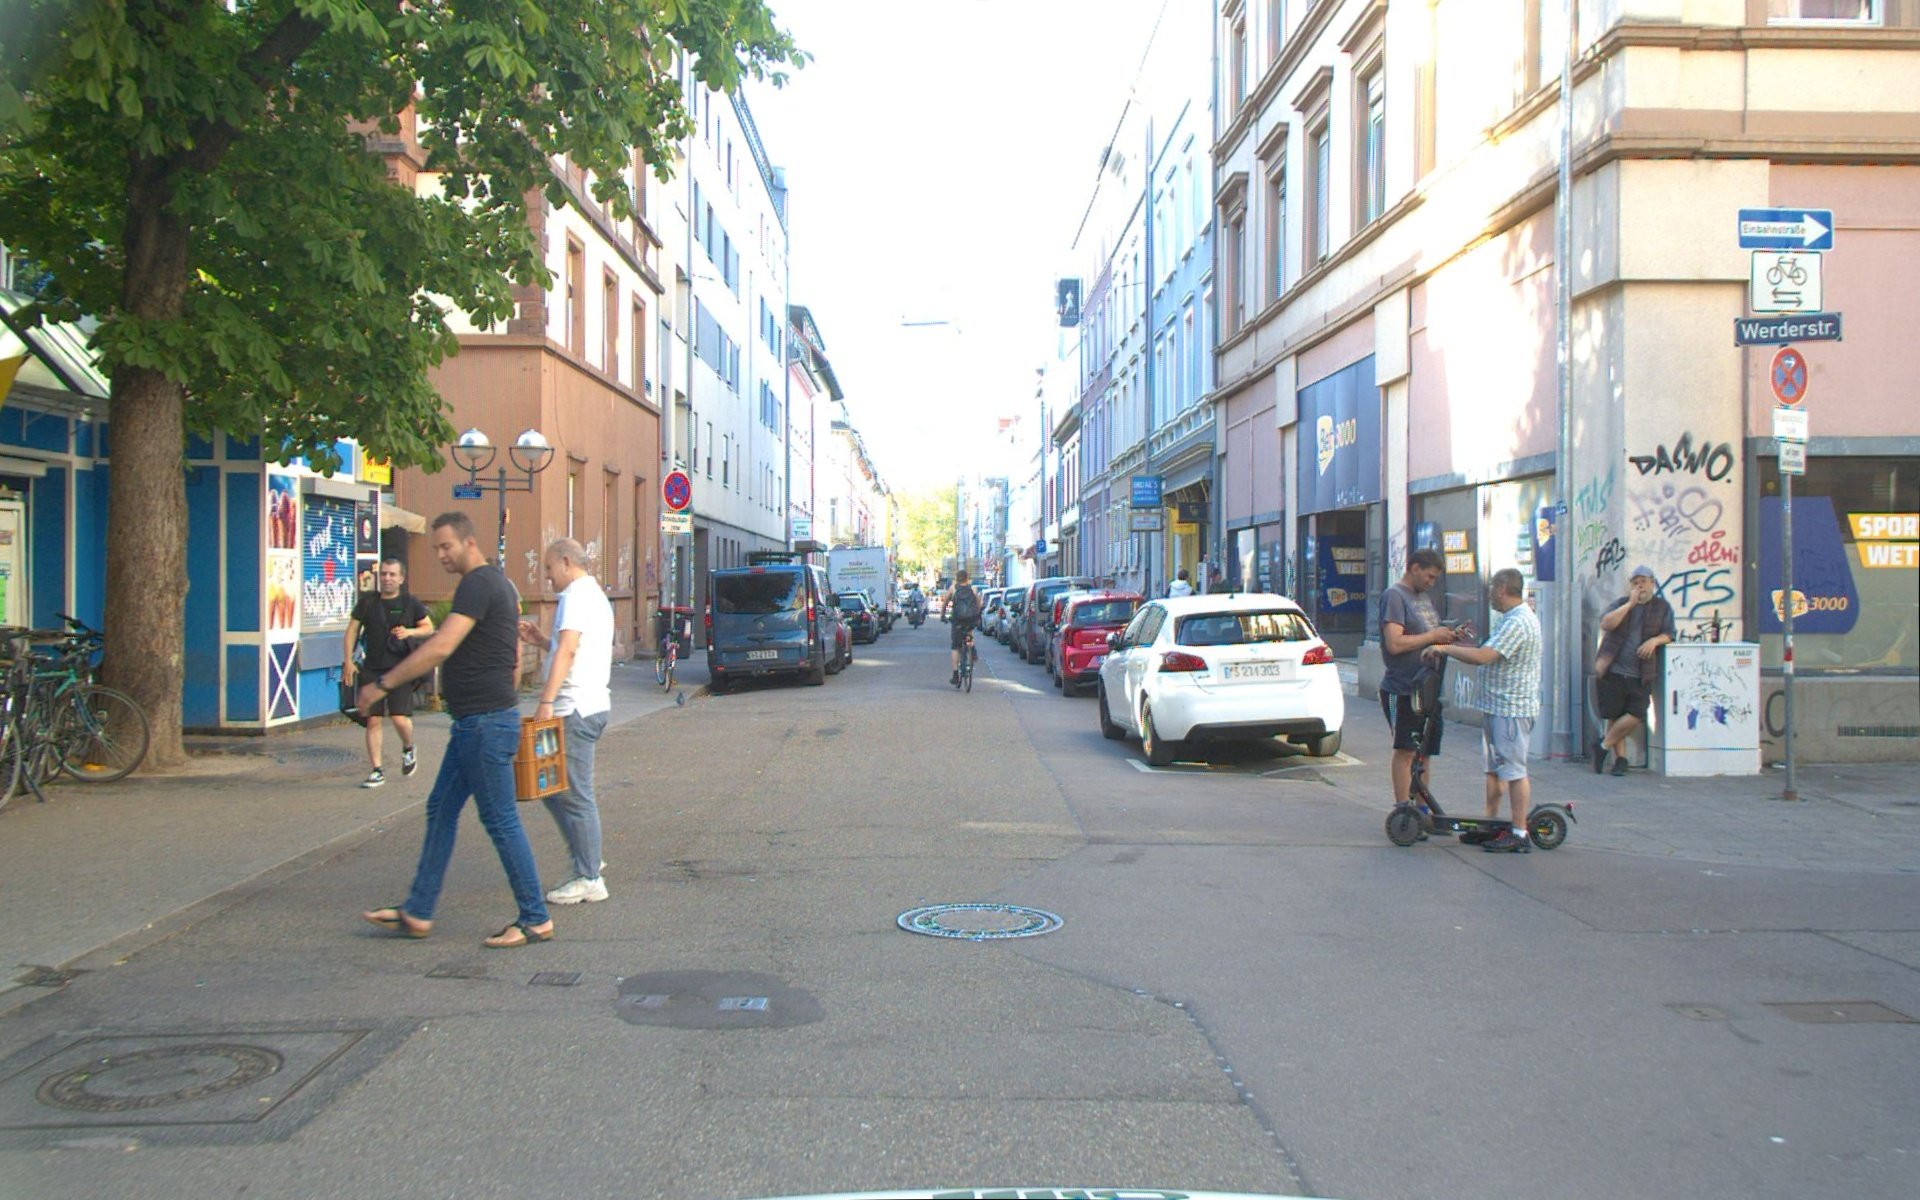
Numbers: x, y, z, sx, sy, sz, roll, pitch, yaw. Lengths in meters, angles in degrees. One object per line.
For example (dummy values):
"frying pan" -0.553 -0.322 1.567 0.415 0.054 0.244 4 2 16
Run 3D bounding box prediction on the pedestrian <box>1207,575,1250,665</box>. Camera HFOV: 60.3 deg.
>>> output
"pedestrian" 4.718 0.346 29.115 0.576 1.556 0.658 1 -1 -7

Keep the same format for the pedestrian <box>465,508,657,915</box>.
"pedestrian" -1.902 0.517 7.969 0.746 1.867 0.688 1 -1 -3

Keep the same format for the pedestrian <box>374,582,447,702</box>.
"pedestrian" -6.878 0.515 20.726 0.691 1.470 0.617 1 -1 -2

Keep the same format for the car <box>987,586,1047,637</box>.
"car" 1.866 0.363 54.969 1.662 1.570 4.627 -2 0 -2

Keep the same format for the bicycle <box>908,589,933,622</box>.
"bicycle" -1.654 0.213 69.982 0.957 1.337 2.555 -1 0 0

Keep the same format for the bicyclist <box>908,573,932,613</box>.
"bicyclist" -1.672 -0.296 69.677 0.931 1.656 0.953 -2 0 0

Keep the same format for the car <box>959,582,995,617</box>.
"car" 0.935 -0.027 92.526 1.715 1.911 3.970 -1 0 -4

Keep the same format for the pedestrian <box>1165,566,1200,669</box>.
"pedestrian" 3.865 0.297 28.683 0.549 1.771 0.428 1 -1 11

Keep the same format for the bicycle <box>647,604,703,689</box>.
"bicycle" -4.376 0.695 25.332 0.541 1.238 1.978 1 0 -18

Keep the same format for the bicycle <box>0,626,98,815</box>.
"bicycle" -5.955 0.744 10.375 0.286 1.101 1.578 1 1 -1

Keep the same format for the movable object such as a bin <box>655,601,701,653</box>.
"movable object such as a bin" -5.999 0.565 35.214 0.743 1.085 0.652 1 0 18

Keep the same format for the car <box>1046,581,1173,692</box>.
"car" 2.294 0.547 26.101 1.574 1.600 3.552 1 0 -1

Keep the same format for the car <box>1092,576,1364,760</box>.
"car" 2.460 0.587 16.180 1.751 1.542 4.134 1 0 -3

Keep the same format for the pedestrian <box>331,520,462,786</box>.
"pedestrian" -4.176 0.382 12.295 0.702 1.906 0.720 1 -1 -2

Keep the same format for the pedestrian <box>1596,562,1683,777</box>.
"pedestrian" 5.469 0.538 13.312 0.588 1.678 0.464 1 2 30

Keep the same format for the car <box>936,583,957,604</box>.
"car" -1.035 -0.501 126.155 1.578 1.587 3.609 0 1 -1

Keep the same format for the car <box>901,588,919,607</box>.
"car" -5.019 -0.217 166.668 1.715 1.853 3.795 -1 0 -1

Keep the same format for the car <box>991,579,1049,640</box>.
"car" 1.782 0.293 49.966 1.525 1.742 3.557 1 0 -2

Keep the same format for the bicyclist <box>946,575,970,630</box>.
"bicyclist" -0.056 0.079 48.929 0.657 1.595 0.716 1 0 -2

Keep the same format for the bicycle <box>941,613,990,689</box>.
"bicycle" 0.065 0.749 25.069 0.663 1.093 1.941 1 0 -2

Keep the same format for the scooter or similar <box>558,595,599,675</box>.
"scooter or similar" -6.124 0.551 26.579 0.340 1.238 1.391 1 0 -2

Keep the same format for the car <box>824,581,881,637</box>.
"car" -3.554 0.263 55.349 1.682 1.679 4.245 -3 1 -2

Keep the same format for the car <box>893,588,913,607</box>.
"car" -5.129 -0.209 148.906 1.715 1.713 3.795 -1 0 -1

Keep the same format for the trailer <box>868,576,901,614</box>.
"trailer" -4.352 -0.301 95.737 1.844 2.129 3.736 -1 0 -1

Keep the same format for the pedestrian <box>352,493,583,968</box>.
"pedestrian" -2.048 0.518 7.005 0.680 1.857 1.002 1 0 -3

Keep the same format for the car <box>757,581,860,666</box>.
"car" -3.025 0.462 33.663 1.715 1.548 3.868 -3 0 -1

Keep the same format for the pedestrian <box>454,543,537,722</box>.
"pedestrian" -4.994 0.342 17.816 0.633 1.865 0.697 2 -1 -2

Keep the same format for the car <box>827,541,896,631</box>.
"car" -3.874 -0.529 66.264 2.296 3.349 7.153 -2 0 -1

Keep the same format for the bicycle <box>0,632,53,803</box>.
"bicycle" -6.282 0.768 10.414 0.286 1.064 1.578 1 1 -1

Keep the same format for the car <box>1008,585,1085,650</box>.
"car" 2.145 0.436 41.793 1.521 1.537 3.609 1 0 -4

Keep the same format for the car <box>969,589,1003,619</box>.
"car" 1.359 0.207 87.471 1.714 1.513 3.799 -1 0 0

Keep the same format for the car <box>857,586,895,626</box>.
"car" -4.064 0.294 80.433 1.717 1.848 4.076 -2 0 -2

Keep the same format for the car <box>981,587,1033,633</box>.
"car" 1.690 0.369 60.842 1.652 1.570 4.045 -2 0 -2

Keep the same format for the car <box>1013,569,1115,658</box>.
"car" 2.244 0.293 36.738 1.861 1.825 4.313 1 0 -2

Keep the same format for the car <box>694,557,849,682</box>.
"car" -3.105 0.273 28.321 1.979 1.912 5.297 1 1 0

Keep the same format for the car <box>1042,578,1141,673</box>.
"car" 2.396 0.448 30.739 1.537 1.584 3.314 -3 0 1

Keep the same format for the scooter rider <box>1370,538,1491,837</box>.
"scooter rider" 2.973 0.531 10.434 0.553 1.809 0.609 1 -1 34

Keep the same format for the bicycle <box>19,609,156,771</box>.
"bicycle" -6.929 0.674 13.215 0.488 1.151 2.030 1 1 -14

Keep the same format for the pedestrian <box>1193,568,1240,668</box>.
"pedestrian" 4.625 0.317 29.840 0.618 1.771 0.656 1 -1 -14

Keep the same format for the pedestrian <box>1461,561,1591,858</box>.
"pedestrian" 3.313 0.615 9.679 0.519 1.667 0.561 0 -1 43

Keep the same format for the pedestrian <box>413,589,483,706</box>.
"pedestrian" -6.590 0.605 21.321 0.691 1.470 0.617 1 -1 -2

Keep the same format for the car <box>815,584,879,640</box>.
"car" -3.353 0.324 49.828 1.682 1.504 4.498 -3 1 -2

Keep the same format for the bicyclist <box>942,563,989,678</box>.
"bicyclist" 0.071 0.307 25.106 0.654 1.706 1.097 1 0 -2

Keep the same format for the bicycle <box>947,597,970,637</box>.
"bicycle" -0.053 0.484 48.924 0.635 1.149 2.135 1 0 -1

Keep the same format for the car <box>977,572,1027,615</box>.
"car" 1.727 -0.294 69.266 1.879 1.735 4.365 0 1 -2

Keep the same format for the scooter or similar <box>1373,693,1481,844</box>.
"scooter or similar" 2.881 1.023 10.250 0.385 0.843 0.925 1 0 -1

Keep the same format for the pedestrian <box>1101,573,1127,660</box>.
"pedestrian" 3.142 0.334 33.729 0.432 1.734 0.654 1 -1 -1
